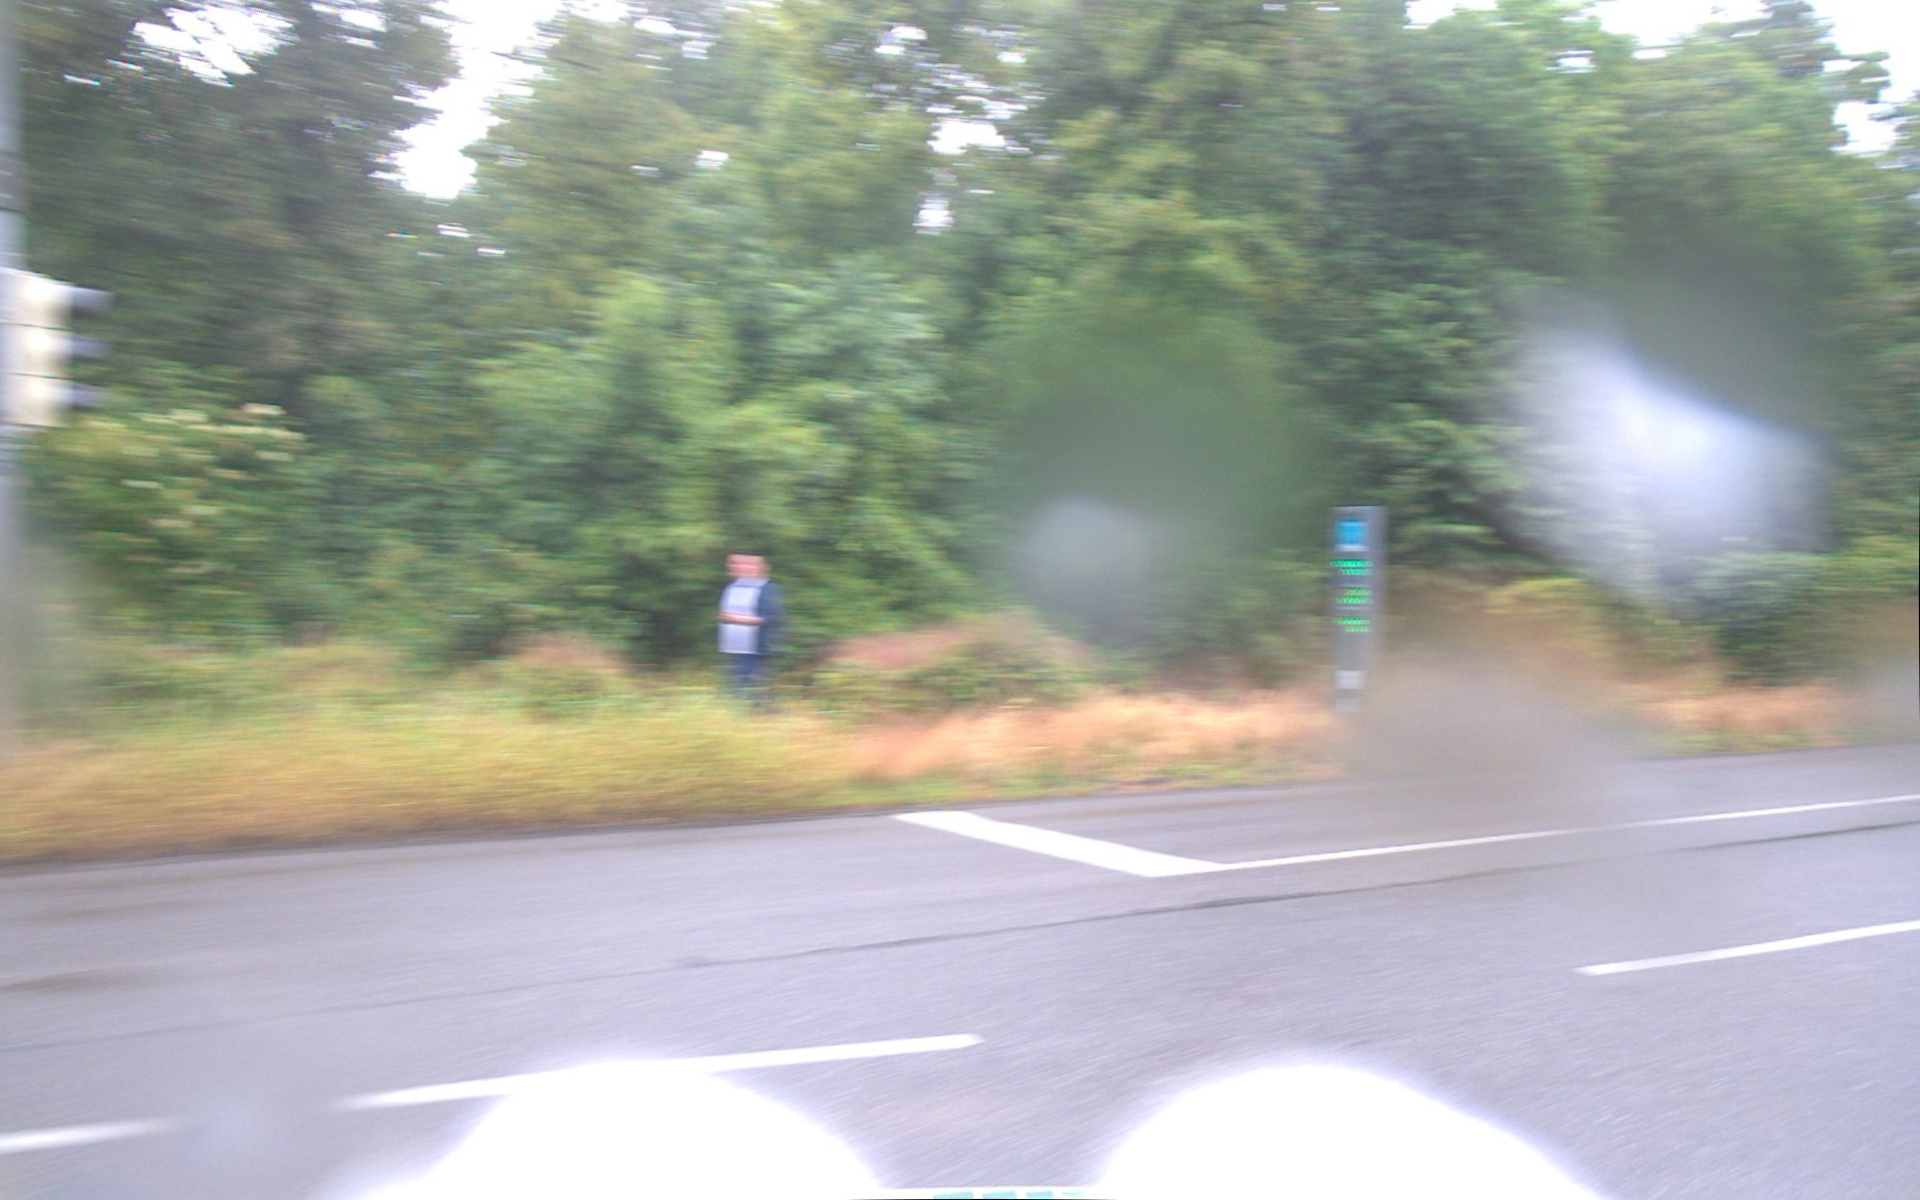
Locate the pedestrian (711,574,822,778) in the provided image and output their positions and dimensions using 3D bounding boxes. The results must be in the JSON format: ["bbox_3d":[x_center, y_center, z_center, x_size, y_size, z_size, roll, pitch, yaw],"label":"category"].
[{"bbox_3d":[-1.801,0.689,15.371,0.753,1.831,0.770,1,-1,-30],"label":"pedestrian"}]
